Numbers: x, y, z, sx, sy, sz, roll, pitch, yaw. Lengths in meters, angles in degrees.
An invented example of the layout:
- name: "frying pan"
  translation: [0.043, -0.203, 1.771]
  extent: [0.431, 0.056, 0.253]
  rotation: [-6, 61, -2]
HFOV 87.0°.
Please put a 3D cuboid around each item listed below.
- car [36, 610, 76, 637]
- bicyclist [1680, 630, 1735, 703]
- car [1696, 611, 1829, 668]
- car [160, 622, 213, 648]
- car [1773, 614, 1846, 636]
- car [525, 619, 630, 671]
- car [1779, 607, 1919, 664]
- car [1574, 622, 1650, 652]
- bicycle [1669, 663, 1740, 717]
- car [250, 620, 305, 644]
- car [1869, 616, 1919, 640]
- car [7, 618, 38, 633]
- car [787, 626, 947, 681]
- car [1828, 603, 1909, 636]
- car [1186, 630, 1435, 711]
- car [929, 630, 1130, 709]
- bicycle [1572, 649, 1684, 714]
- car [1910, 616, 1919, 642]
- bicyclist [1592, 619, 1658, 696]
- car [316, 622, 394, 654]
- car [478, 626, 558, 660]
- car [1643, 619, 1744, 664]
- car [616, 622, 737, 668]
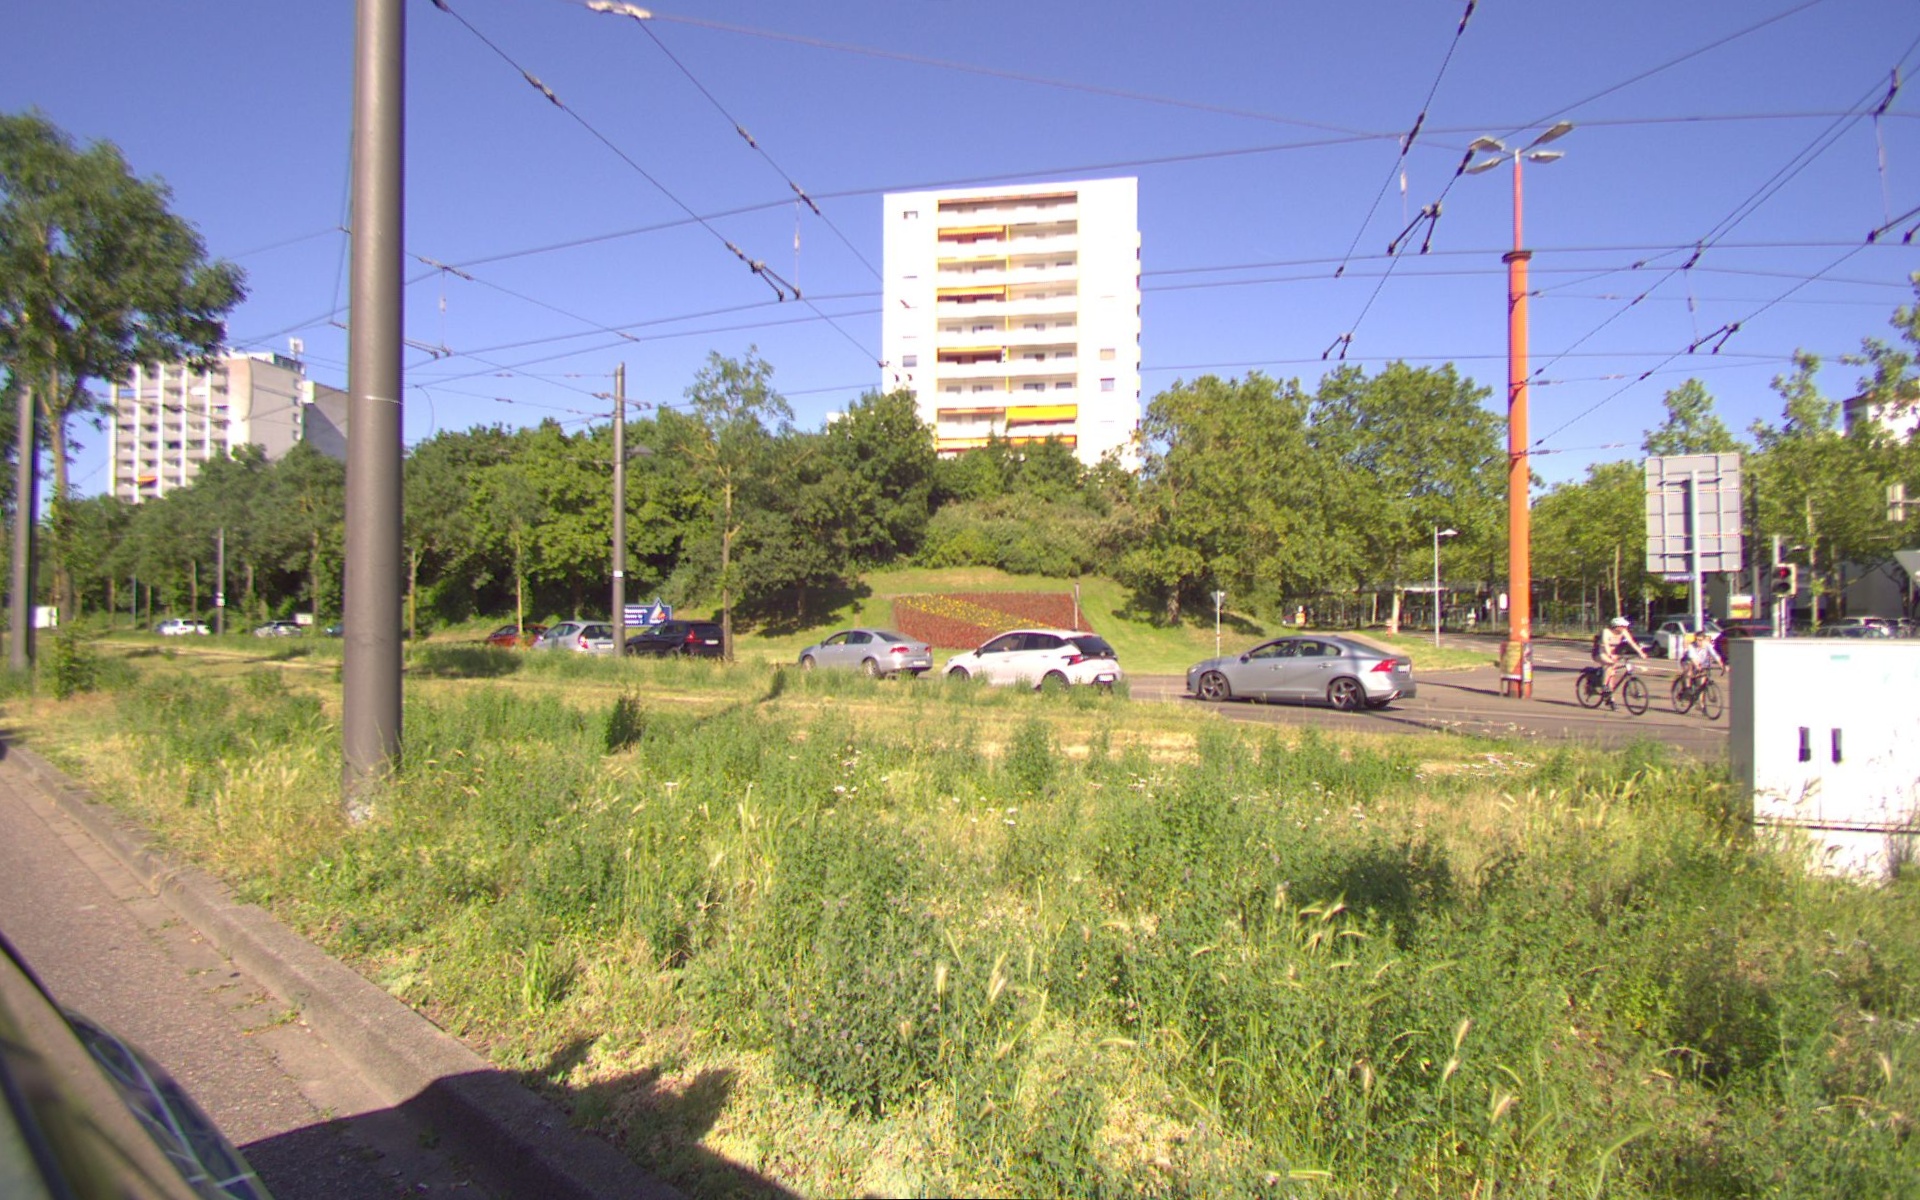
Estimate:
- name: "car"
  translation: [-83.942, 2.191, 93.981]
  extent: [6.878, 2.387, 2.018]
  rotation: [-1, -1, 42]
- name: "bicyclist"
  translation: [14.035, 1.237, 19.018]
  extent: [0.542, 1.333, 0.698]
  rotation: [-1, 0, 10]
- name: "car"
  translation: [29.073, 1.382, 36.835]
  extent: [1.978, 1.915, 4.260]
  rotation: [-1, 0, 11]
- name: "car"
  translation: [-51.896, 2.326, 67.913]
  extent: [4.653, 1.634, 1.875]
  rotation: [-1, -1, 40]
- name: "car"
  translation: [66.857, 1.938, 79.697]
  extent: [1.864, 1.608, 4.010]
  rotation: [0, 0, -35]
- name: "car"
  translation: [-12.847, 1.460, 33.929]
  extent: [3.756, 1.620, 1.744]
  rotation: [-1, -2, 42]
- name: "car"
  translation: [32.264, 1.244, 36.831]
  extent: [1.978, 1.915, 4.260]
  rotation: [-1, 0, 11]
- name: "car"
  translation: [31.766, 1.791, 49.428]
  extent: [1.717, 1.332, 3.986]
  rotation: [-1, 0, 11]
- name: "bicycle"
  translation: [14.090, 1.684, 19.205]
  extent: [0.364, 0.889, 1.621]
  rotation: [-1, 0, 9]
- name: "car"
  translation: [-44.420, 2.053, 65.823]
  extent: [4.542, 1.408, 1.879]
  rotation: [-1, -1, 42]
- name: "car"
  translation: [64.763, 1.898, 68.869]
  extent: [1.864, 1.608, 4.010]
  rotation: [0, 0, -35]
- name: "car"
  translation: [-102.214, 2.791, 110.306]
  extent: [5.271, 1.596, 1.972]
  rotation: [-1, -1, 42]
- name: "car"
  translation: [-2.783, 1.507, 29.635]
  extent: [4.691, 1.443, 1.972]
  rotation: [-1, -2, 41]
- name: "car"
  translation: [58.133, 1.250, 64.875]
  extent: [1.981, 2.029, 4.386]
  rotation: [-1, -1, 14]
- name: "car"
  translation: [7.077, 1.355, 20.701]
  extent: [4.399, 1.384, 1.972]
  rotation: [-1, -1, 42]
- name: "car"
  translation: [1.374, 1.431, 21.272]
  extent: [4.182, 1.484, 1.571]
  rotation: [-3, -4, 43]
- name: "bicycle"
  translation: [12.871, 1.542, 19.595]
  extent: [0.467, 1.089, 2.363]
  rotation: [-1, 0, -4]
- name: "car"
  translation: [64.135, 1.884, 65.153]
  extent: [1.864, 1.608, 4.010]
  rotation: [0, 0, -35]
- name: "bicyclist"
  translation: [12.852, 1.088, 19.575]
  extent: [0.740, 1.441, 0.758]
  rotation: [-1, 0, -5]
- name: "car"
  translation: [-29.206, 1.804, 48.811]
  extent: [4.991, 1.420, 1.972]
  rotation: [-1, -1, 43]
- name: "car"
  translation: [-19.086, 1.821, 43.628]
  extent: [4.176, 1.307, 1.639]
  rotation: [-1, -1, 42]
- name: "car"
  translation: [31.100, 1.719, 43.043]
  extent: [1.892, 1.763, 3.986]
  rotation: [-1, 0, 11]
- name: "car"
  translation: [-10.069, 1.535, 35.793]
  extent: [4.630, 1.492, 1.972]
  rotation: [-1, -1, 42]
